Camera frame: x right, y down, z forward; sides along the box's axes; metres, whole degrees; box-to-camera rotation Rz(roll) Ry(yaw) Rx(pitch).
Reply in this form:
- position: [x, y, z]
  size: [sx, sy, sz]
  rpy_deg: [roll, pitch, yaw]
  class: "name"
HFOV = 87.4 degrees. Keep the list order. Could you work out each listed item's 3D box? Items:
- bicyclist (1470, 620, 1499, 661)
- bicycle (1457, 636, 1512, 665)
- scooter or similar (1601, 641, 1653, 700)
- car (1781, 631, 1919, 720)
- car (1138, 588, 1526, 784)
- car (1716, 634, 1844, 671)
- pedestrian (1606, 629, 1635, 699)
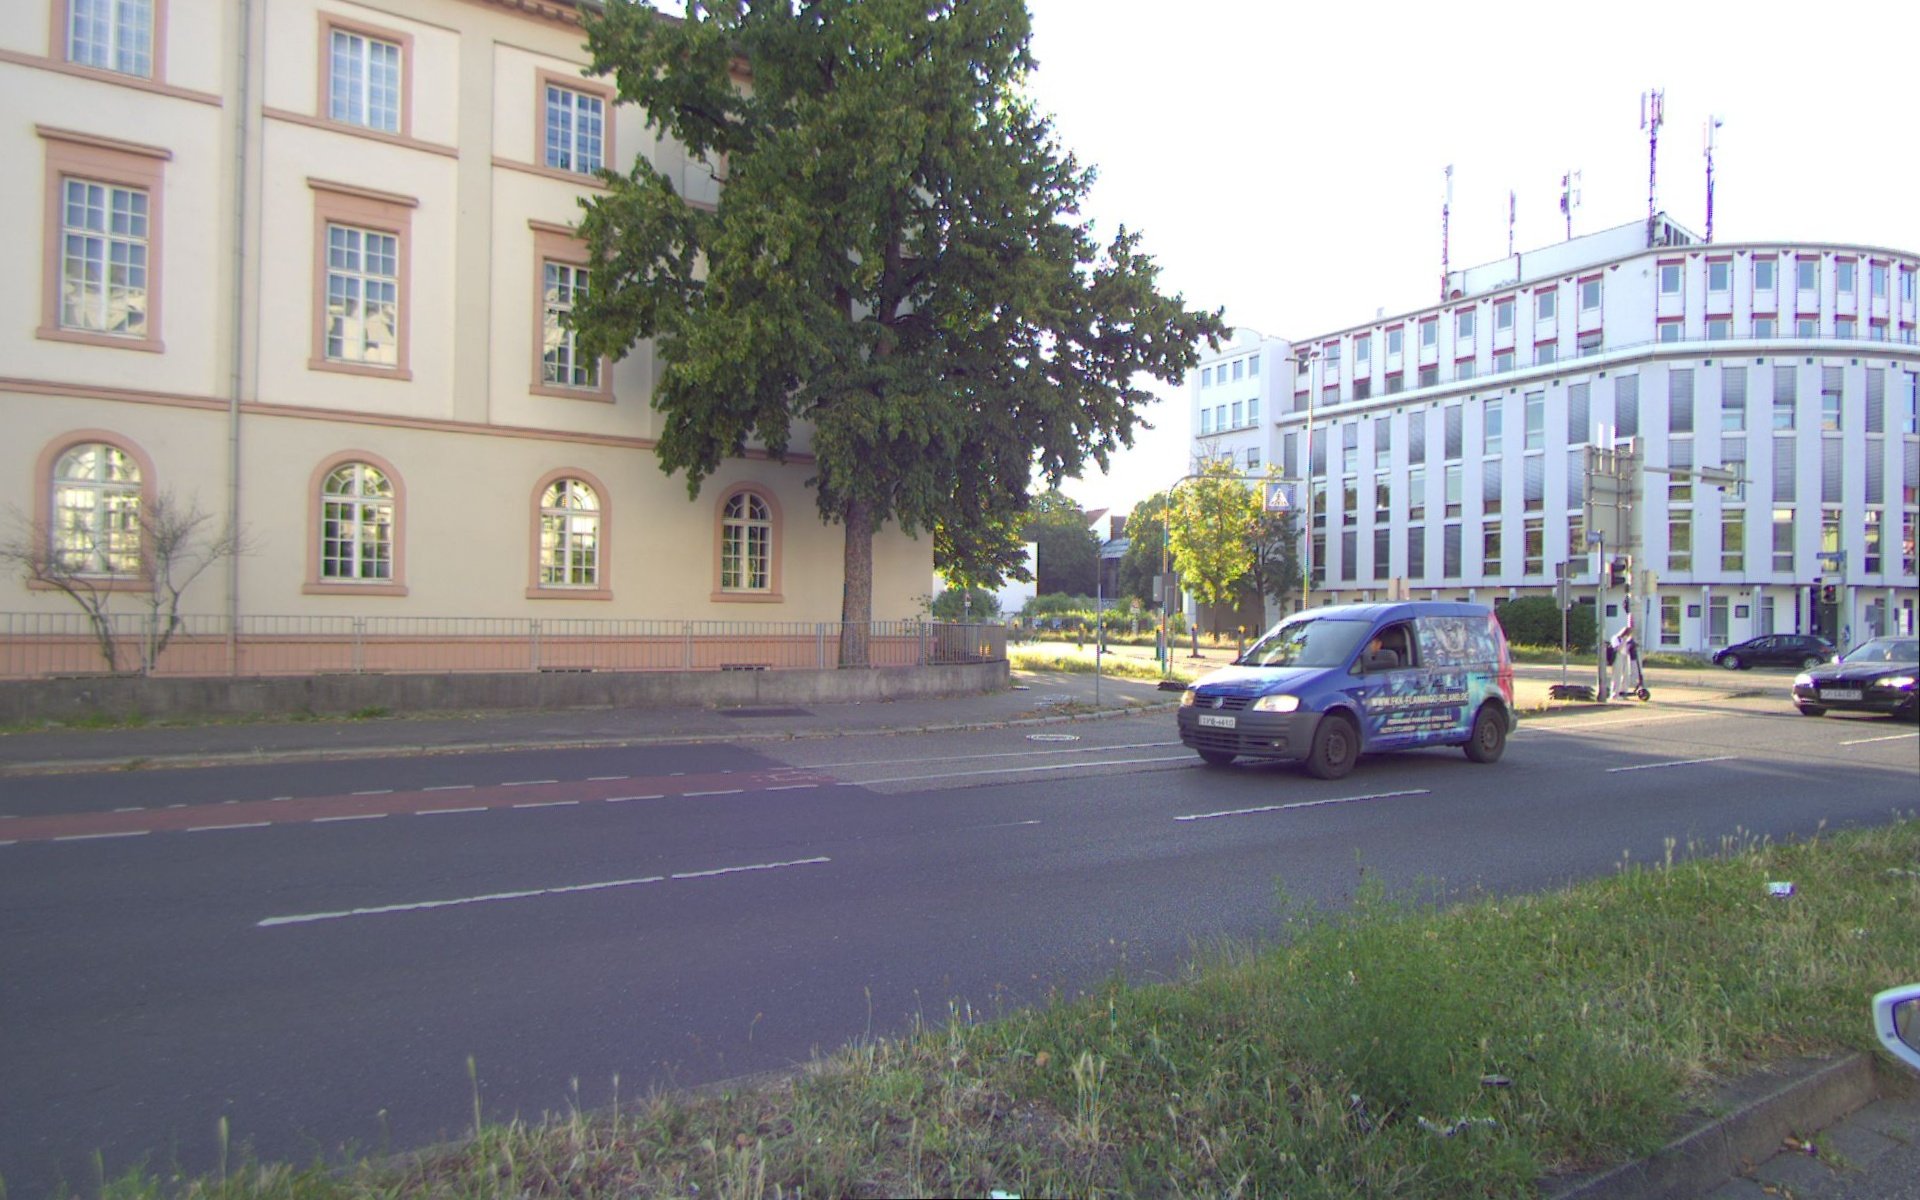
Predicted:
- position: [19.798, 1.534, 37.902]
  size: [0.453, 1.516, 0.879]
  rpy_deg: [1, -1, -36]
  class: "bicyclist"
- position: [19.784, 1.891, 37.915]
  size: [0.498, 1.056, 1.786]
  rpy_deg: [1, -1, -35]
  class: "bicycle"
- position: [14.766, 1.547, 22.243]
  size: [0.368, 1.250, 0.885]
  rpy_deg: [1, -1, -40]
  class: "scooter or similar"
- position: [17.098, 1.310, 18.154]
  size: [4.179, 1.461, 1.694]
  rpy_deg: [1, -1, -21]
  class: "car"
- position: [4.258, 0.862, 11.360]
  size: [4.182, 1.841, 1.983]
  rpy_deg: [1, -1, -32]
  class: "car"
- position: [31.985, 2.011, 39.241]
  size: [1.819, 1.313, 3.579]
  rpy_deg: [1, -1, -37]
  class: "car"
- position: [14.702, 1.407, 22.344]
  size: [0.332, 1.525, 0.470]
  rpy_deg: [1, -1, -41]
  class: "pedestrian"
